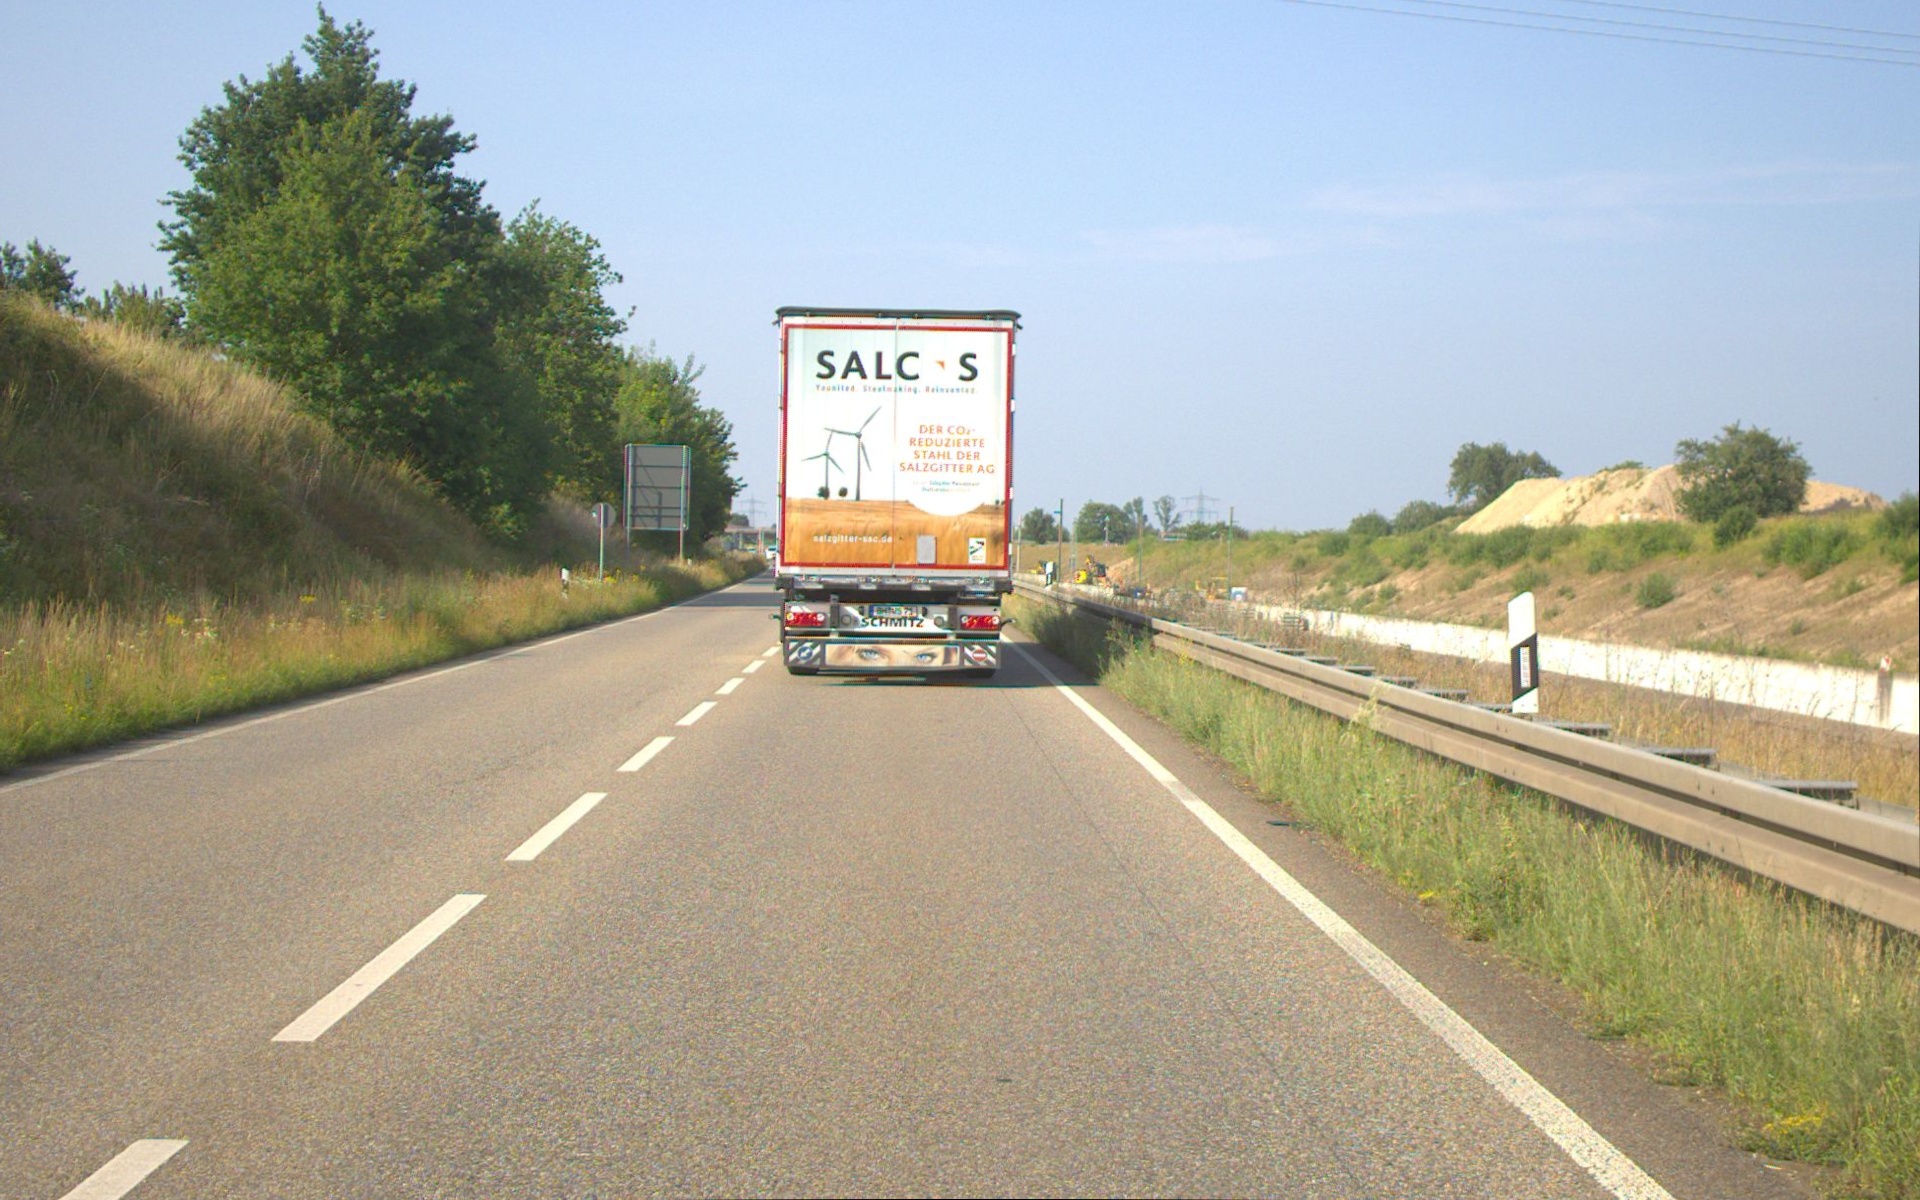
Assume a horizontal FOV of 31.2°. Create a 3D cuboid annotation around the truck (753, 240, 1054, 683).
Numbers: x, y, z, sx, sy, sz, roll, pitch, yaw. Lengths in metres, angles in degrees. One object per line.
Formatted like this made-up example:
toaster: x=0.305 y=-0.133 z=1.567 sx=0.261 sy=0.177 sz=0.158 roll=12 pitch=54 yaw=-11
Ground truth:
truck: x=-0.788 y=-1.533 z=40.795 sx=3.152 sy=4.672 sz=8.442 roll=1 pitch=1 yaw=-3
